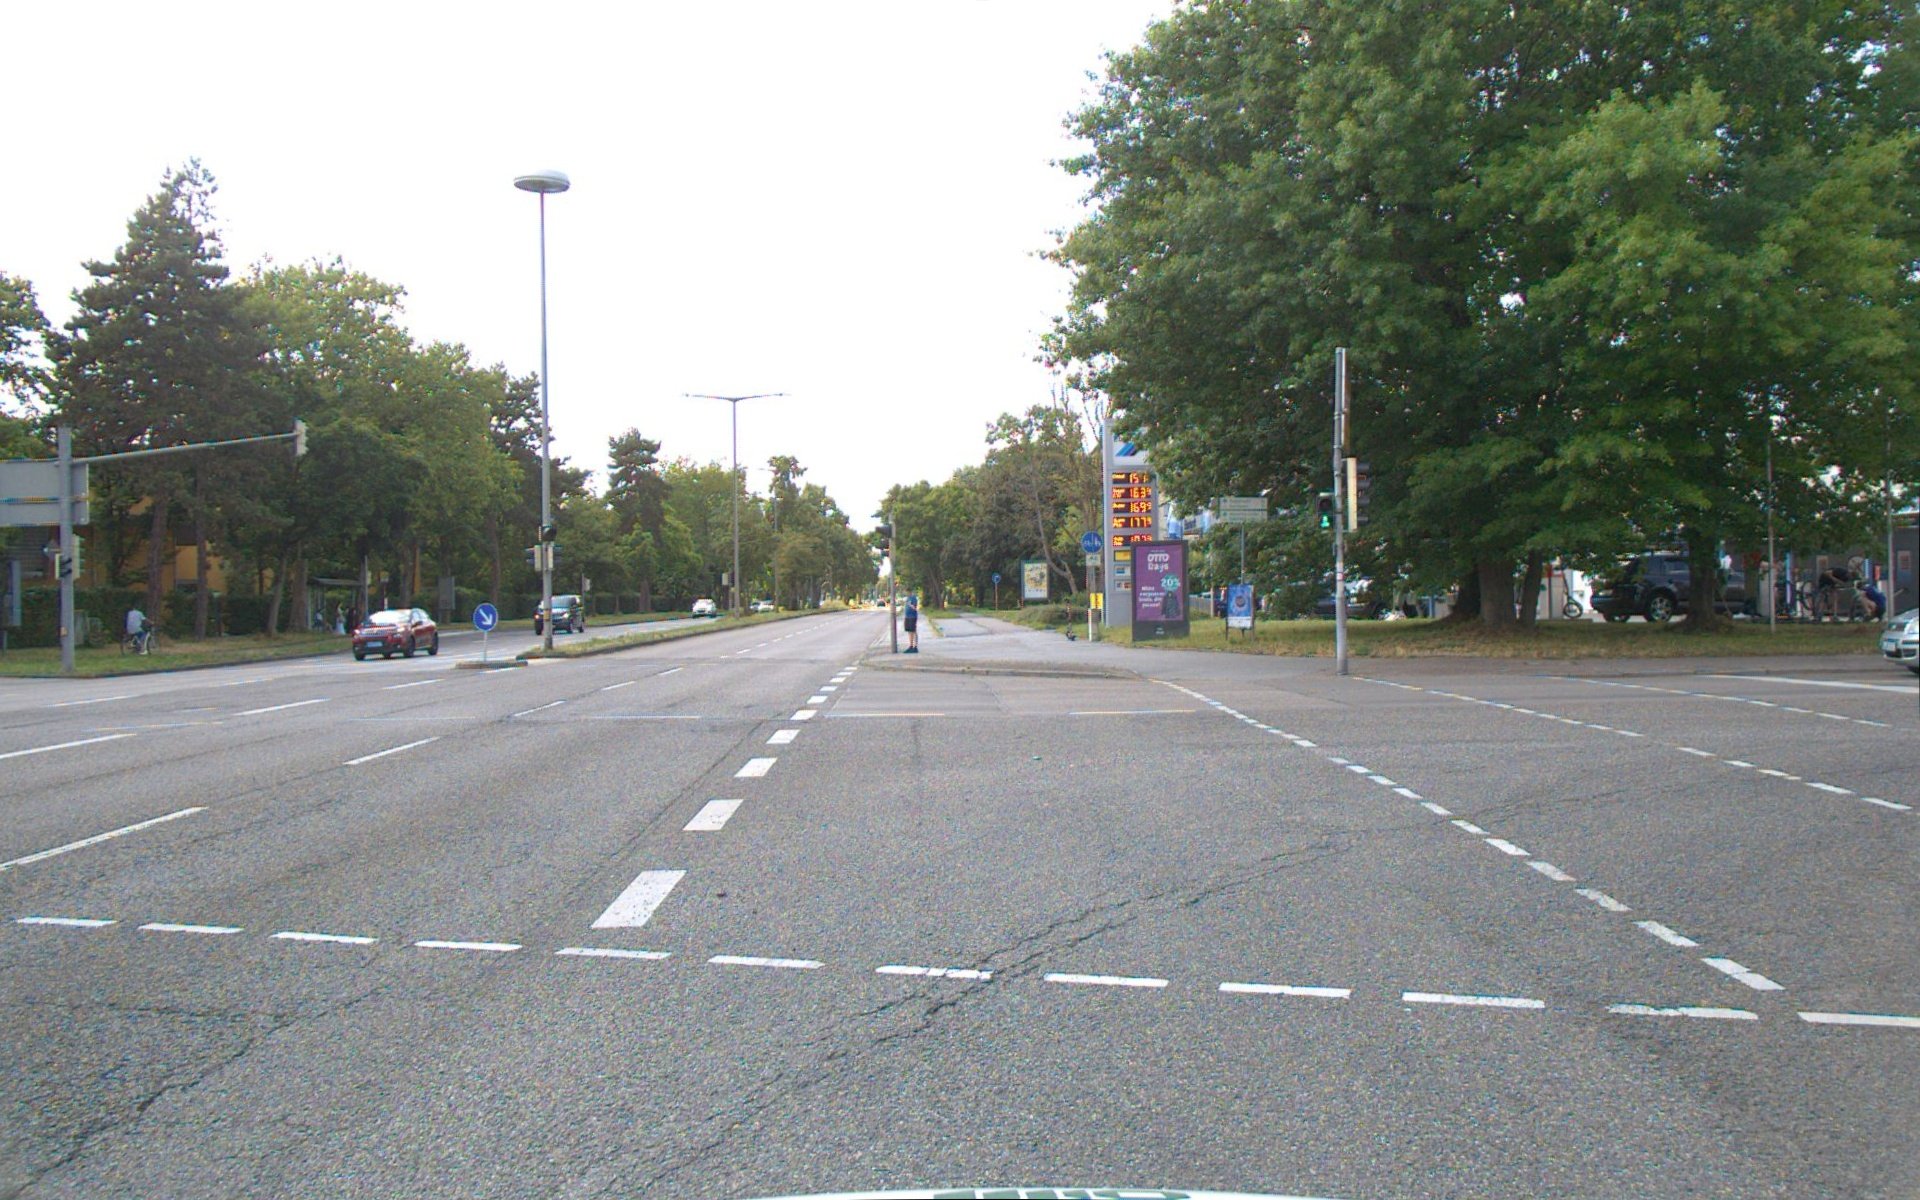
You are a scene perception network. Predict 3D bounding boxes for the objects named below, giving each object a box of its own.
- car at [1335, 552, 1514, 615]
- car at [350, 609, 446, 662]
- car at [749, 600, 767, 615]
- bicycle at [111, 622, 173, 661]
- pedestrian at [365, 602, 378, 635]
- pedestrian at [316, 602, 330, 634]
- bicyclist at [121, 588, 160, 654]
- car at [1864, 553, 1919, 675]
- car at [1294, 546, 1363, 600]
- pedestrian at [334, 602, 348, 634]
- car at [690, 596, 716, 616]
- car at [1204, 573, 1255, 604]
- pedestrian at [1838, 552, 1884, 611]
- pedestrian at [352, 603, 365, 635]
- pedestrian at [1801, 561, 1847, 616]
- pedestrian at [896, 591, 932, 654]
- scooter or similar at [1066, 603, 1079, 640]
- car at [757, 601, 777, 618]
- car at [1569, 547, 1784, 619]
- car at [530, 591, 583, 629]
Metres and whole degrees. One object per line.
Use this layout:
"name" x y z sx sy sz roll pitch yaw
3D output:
"car" 14.866 -0.529 53.004 5.090 1.858 2.147 -2 0 -13
"car" -17.341 1.055 51.243 1.737 1.490 4.452 -2 0 -4
"car" -24.931 0.934 204.118 1.823 1.735 4.452 -2 0 -4
"bicycle" -25.714 1.290 52.032 0.739 1.138 2.115 -2 0 4
"pedestrian" -27.961 0.884 78.560 0.561 1.522 0.419 1 -1 -17
"pedestrian" -30.031 0.852 78.005 0.561 1.522 0.419 1 -1 -17
"bicyclist" -25.742 0.649 51.954 0.735 2.049 0.832 -2 0 4
"car" 13.929 0.141 21.473 3.520 1.543 1.560 -1 0 11
"car" 17.741 -1.249 79.938 1.715 2.496 5.746 -1 0 -3
"pedestrian" -29.281 0.864 78.260 0.561 1.522 0.419 1 -1 -17
"car" -23.472 0.522 151.343 1.823 1.735 4.453 -2 0 -3
"car" 13.427 -0.556 82.635 1.715 1.479 3.738 -2 0 -3
"pedestrian" 19.786 -0.403 36.315 0.753 1.277 0.641 0 -1 44
"pedestrian" -28.785 0.913 79.177 0.561 1.522 0.419 1 -1 -17
"pedestrian" 19.305 -0.248 36.957 0.753 1.211 0.641 0 -1 44
"pedestrian" -1.173 0.574 42.019 0.714 1.558 0.756 -1 0 -18
"scooter or similar" 3.144 0.593 46.392 0.216 0.996 1.272 -1 0 -1
"car" -20.545 0.973 176.496 1.823 1.735 4.452 -2 0 -4
"car" 17.688 -0.422 40.939 4.470 1.624 2.147 -2 0 -12
"car" -21.117 0.502 86.714 1.730 1.889 4.815 -1 0 -2
